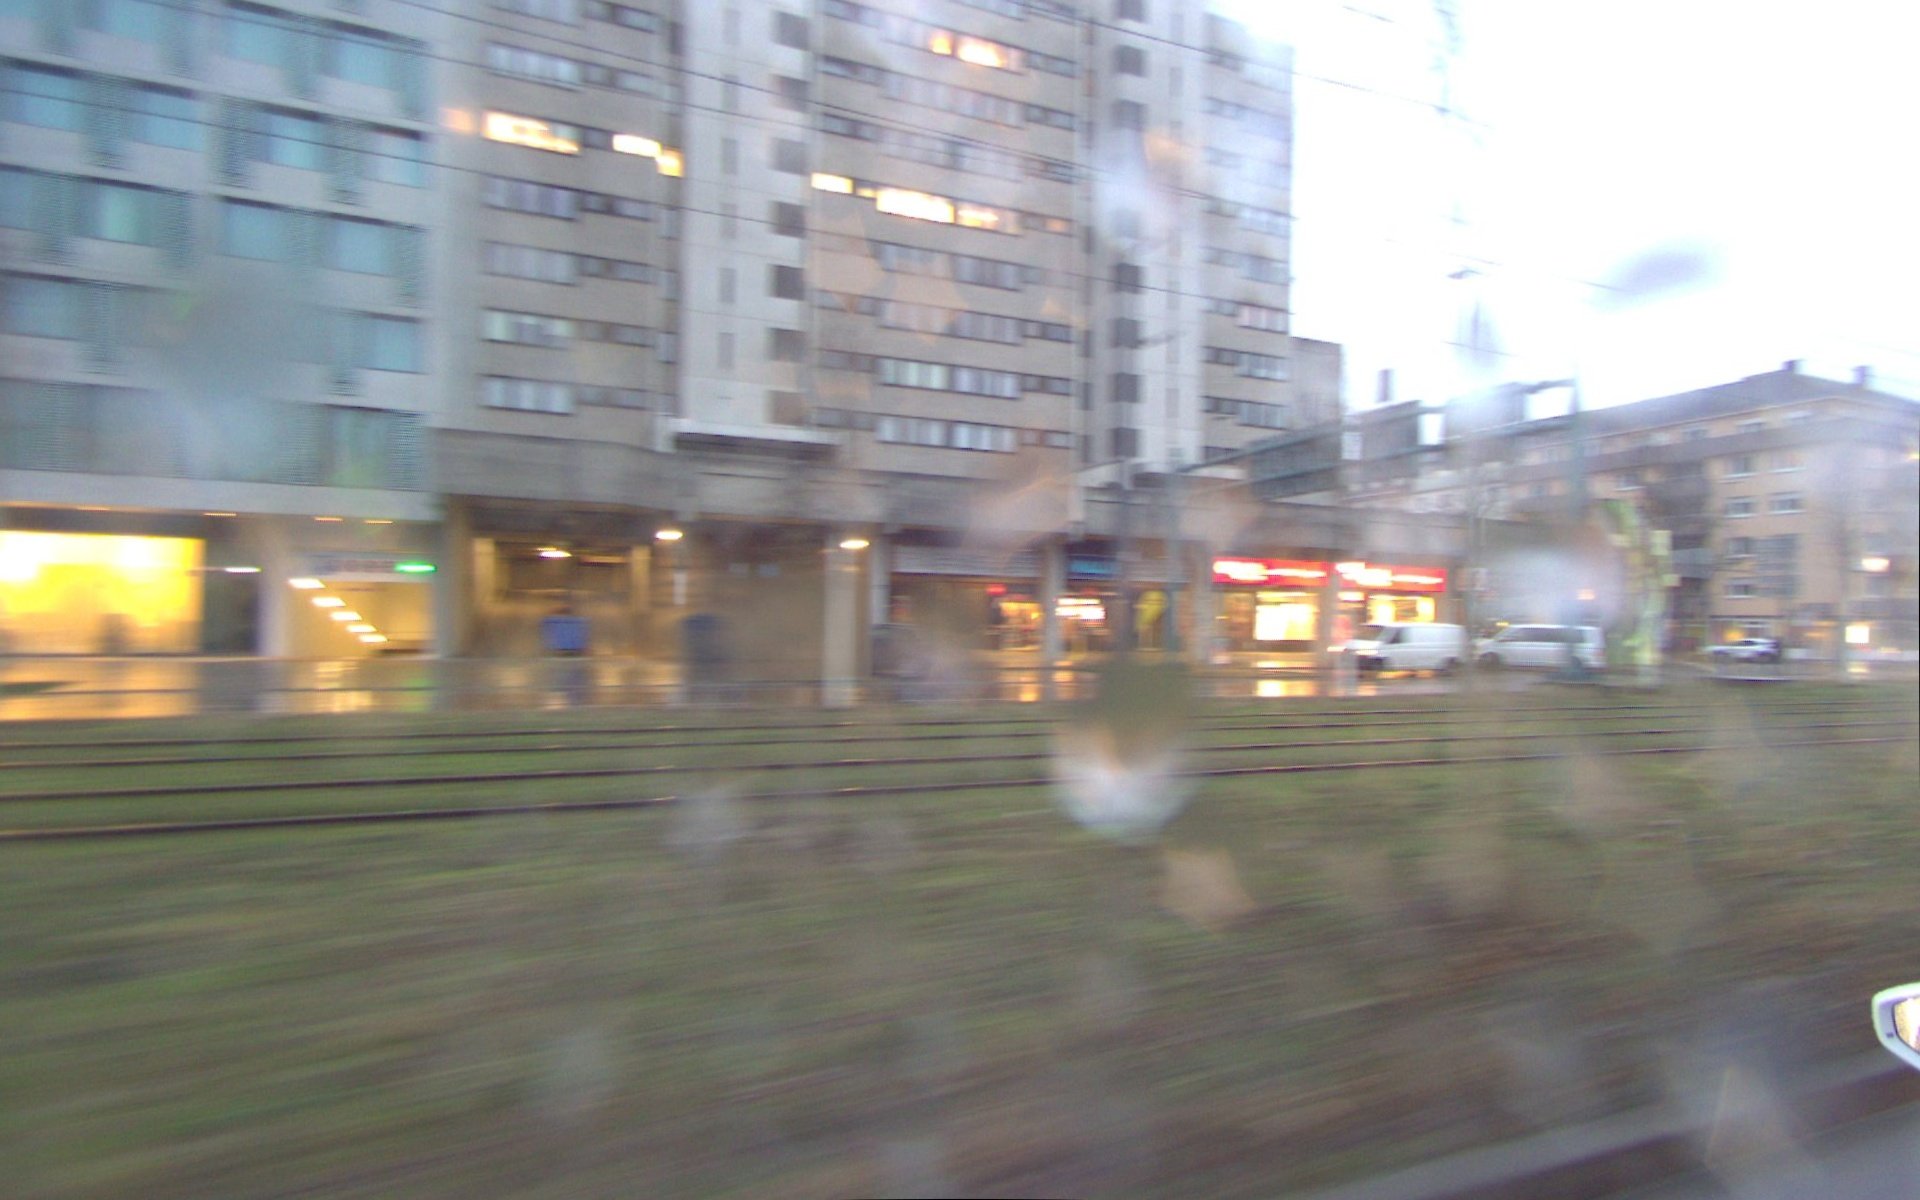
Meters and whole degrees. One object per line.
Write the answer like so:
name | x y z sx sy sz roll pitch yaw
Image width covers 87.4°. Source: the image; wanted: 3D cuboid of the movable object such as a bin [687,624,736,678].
movable object such as a bin | -7.068 1.448 28.524 1.020 1.445 1.064 2 1 -34

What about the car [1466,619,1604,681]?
car | 24.051 2.046 42.251 4.738 2.274 1.999 2 1 22

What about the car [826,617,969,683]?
car | -1.958 1.482 31.165 4.074 1.716 1.978 3 1 36

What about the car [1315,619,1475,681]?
car | 16.272 1.860 37.585 5.477 2.073 1.992 2 1 -18

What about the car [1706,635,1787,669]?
car | 51.491 3.396 65.837 1.820 1.968 3.730 2 1 -30

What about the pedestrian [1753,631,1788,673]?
pedestrian | 40.459 2.592 50.153 1.256 2.040 1.001 0 -1 44
